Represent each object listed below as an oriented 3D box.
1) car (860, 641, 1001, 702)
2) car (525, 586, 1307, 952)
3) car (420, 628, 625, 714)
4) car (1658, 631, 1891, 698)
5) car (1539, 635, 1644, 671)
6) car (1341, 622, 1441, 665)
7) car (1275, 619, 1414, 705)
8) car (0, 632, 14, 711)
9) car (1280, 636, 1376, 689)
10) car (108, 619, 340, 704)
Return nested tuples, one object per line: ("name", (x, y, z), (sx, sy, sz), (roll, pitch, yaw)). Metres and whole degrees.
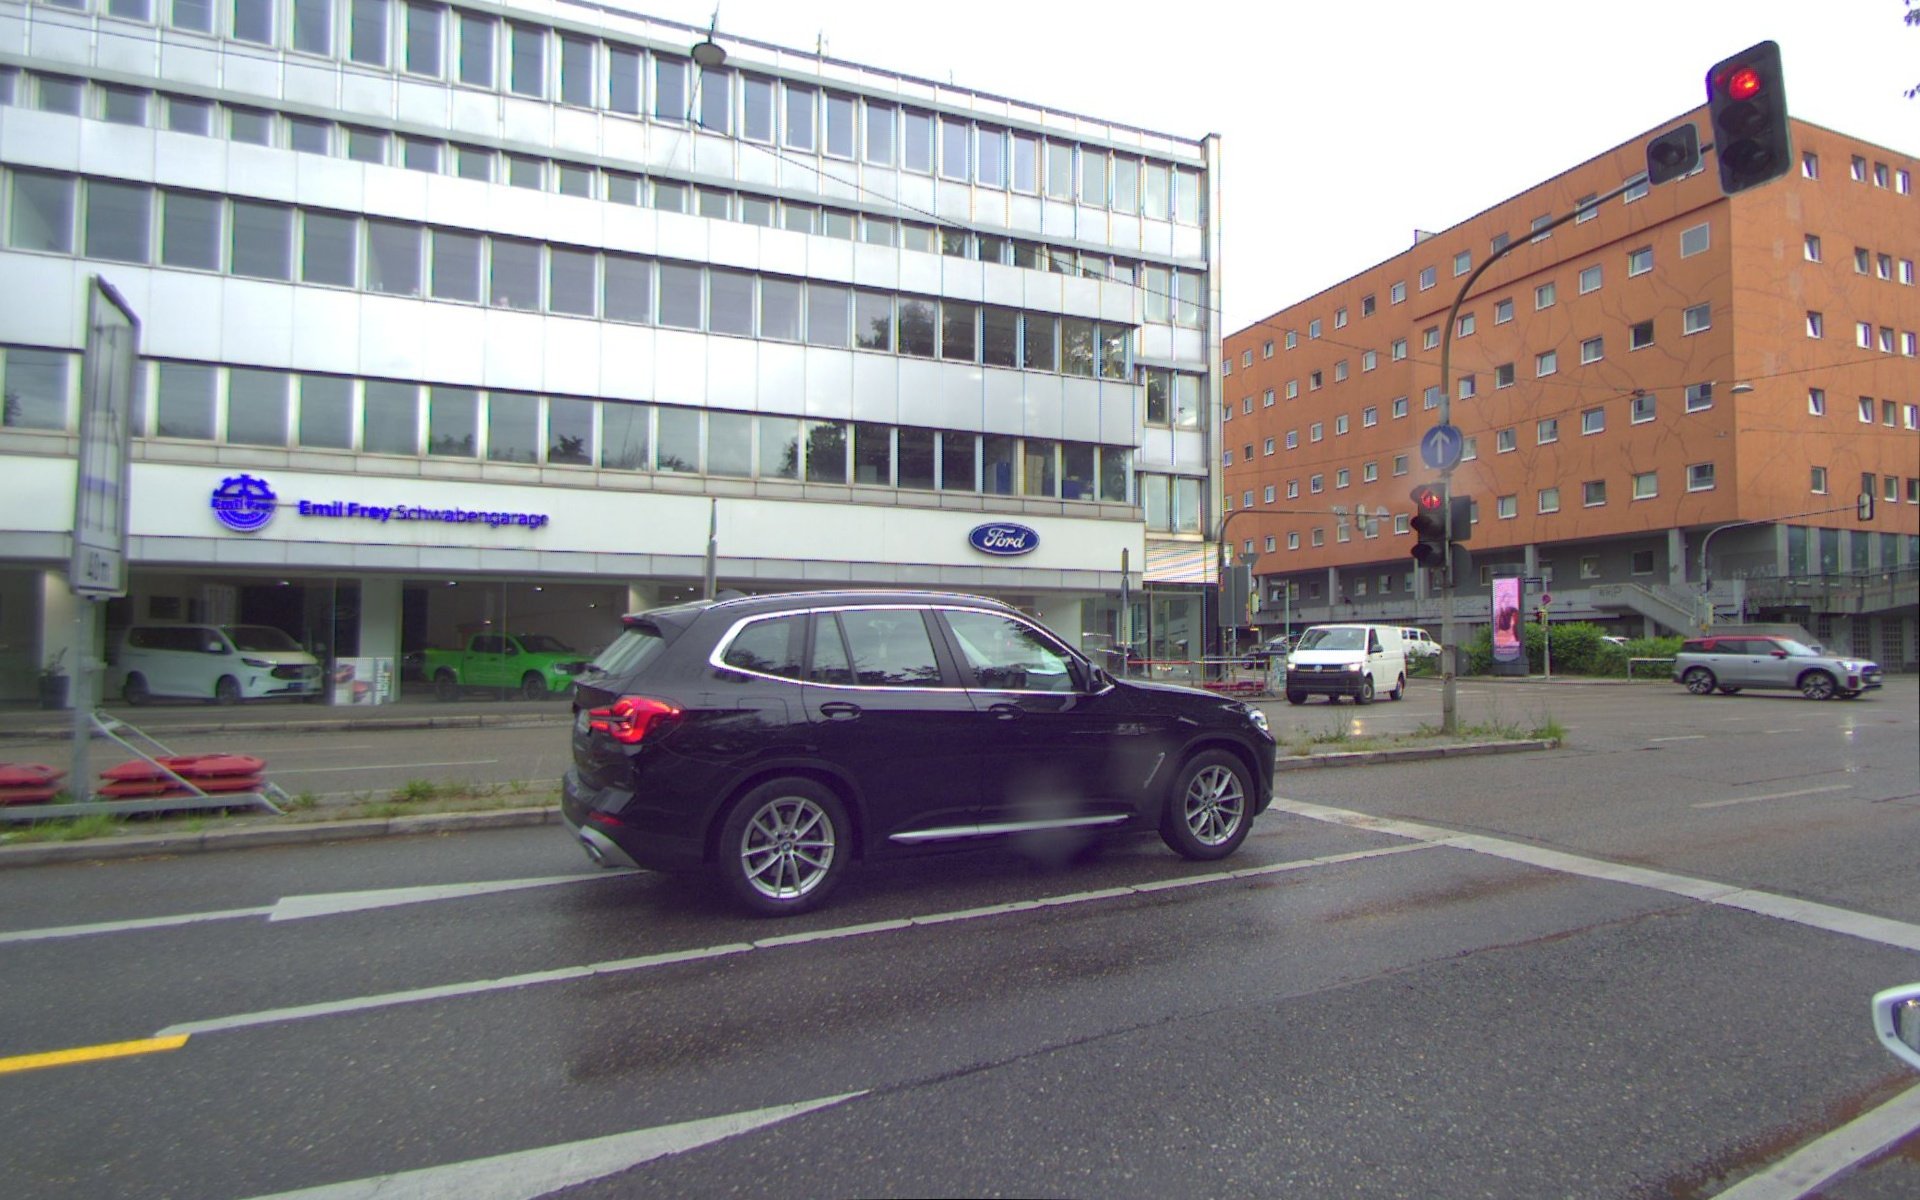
("car", (-1.014, 2.238, 31.473), (1.983, 1.761, 4.721), (2, -5, -38))
("car", (-0.194, 0.768, 6.388), (4.611, 1.619, 1.940), (0, 0, -28))
("car", (-11.264, 1.838, 25.820), (5.109, 2.037, 1.999), (-2, -4, 26))
("car", (21.776, 1.701, 27.059), (1.858, 1.659, 4.492), (1, -3, -29))
("car", (30.553, 2.596, 48.744), (1.865, 1.639, 4.011), (1, -4, -20))
("car", (22.449, 2.283, 52.320), (4.783, 2.041, 1.989), (2, 1, -23))
("car", (9.880, 1.592, 25.554), (1.968, 1.957, 5.195), (-3, -5, 36))
("car", (-21.579, 1.492, 20.756), (3.931, 1.594, 1.996), (-3, -4, 32))
("car", (12.409, 2.145, 34.205), (1.959, 1.659, 4.830), (-1, -4, 7))
("car", (-17.896, 1.526, 24.479), (4.889, 1.921, 2.001), (-2, -4, 17))
